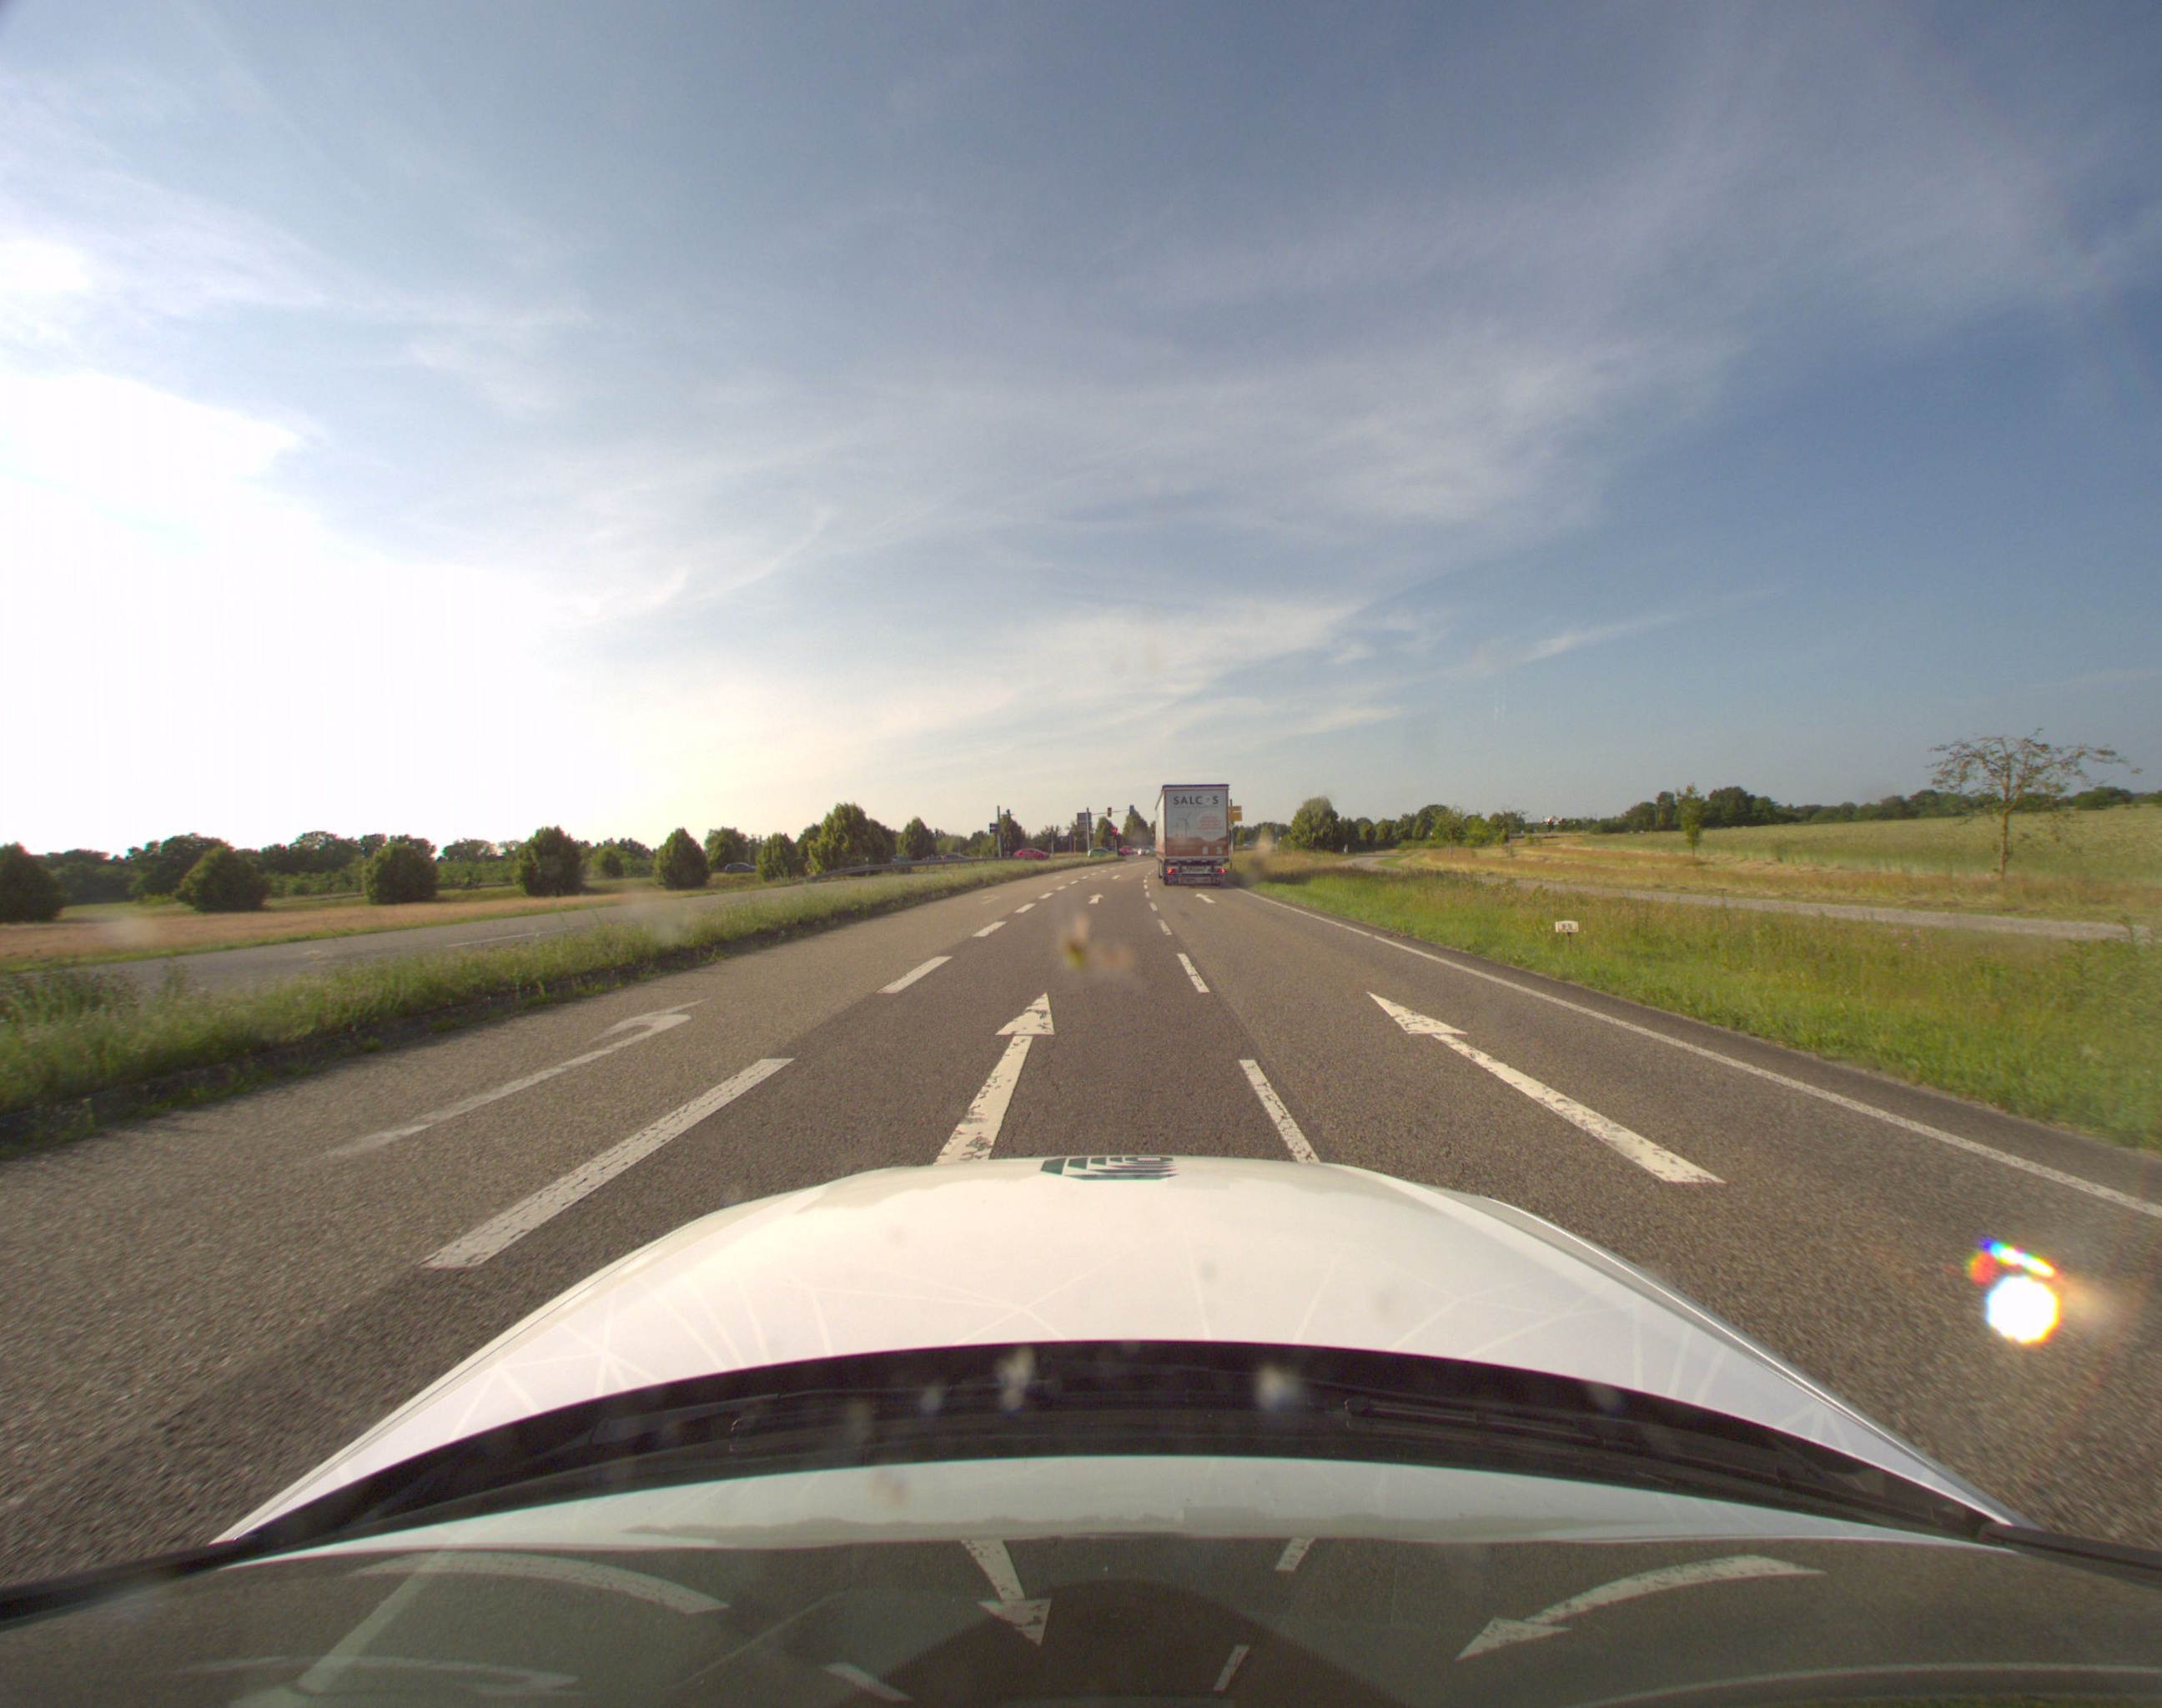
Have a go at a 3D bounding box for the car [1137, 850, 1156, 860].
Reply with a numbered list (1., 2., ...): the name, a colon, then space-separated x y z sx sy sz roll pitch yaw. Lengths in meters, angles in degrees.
1. car: 10.220 0.127 127.122 1.771 1.488 4.673 -2 0 19

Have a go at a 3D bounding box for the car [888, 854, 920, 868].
1. car: -26.495 1.064 122.003 4.452 2.014 1.996 -1 -1 -6

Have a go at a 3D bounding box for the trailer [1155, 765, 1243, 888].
1. trailer: 5.142 -1.144 38.017 3.266 4.680 13.166 -1 1 5

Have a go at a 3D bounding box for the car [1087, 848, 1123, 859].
1. car: 3.133 -0.063 106.061 4.394 1.417 1.926 -1 -1 10

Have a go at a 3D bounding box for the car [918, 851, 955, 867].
1. car: -19.616 0.696 110.672 4.427 2.014 2.007 -1 -1 13

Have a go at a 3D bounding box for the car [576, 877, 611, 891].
1. car: -71.684 4.415 119.870 3.987 2.014 1.993 0 -1 -10

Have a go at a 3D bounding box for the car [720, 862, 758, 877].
1. car: -47.521 2.168 113.166 4.452 2.014 1.996 -1 -1 -6

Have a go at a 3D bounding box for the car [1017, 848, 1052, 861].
1. car: -6.190 0.073 108.613 4.237 1.565 1.907 -1 -1 10

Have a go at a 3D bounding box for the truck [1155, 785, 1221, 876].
1. truck: 5.731 -1.211 44.599 3.284 4.657 5.740 -1 0 5

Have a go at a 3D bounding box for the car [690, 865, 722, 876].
1. car: -57.122 2.555 124.105 3.975 1.667 1.999 -1 -1 -1

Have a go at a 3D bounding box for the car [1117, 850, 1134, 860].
1. car: 7.089 0.202 129.926 1.706 1.488 3.823 -2 0 19
